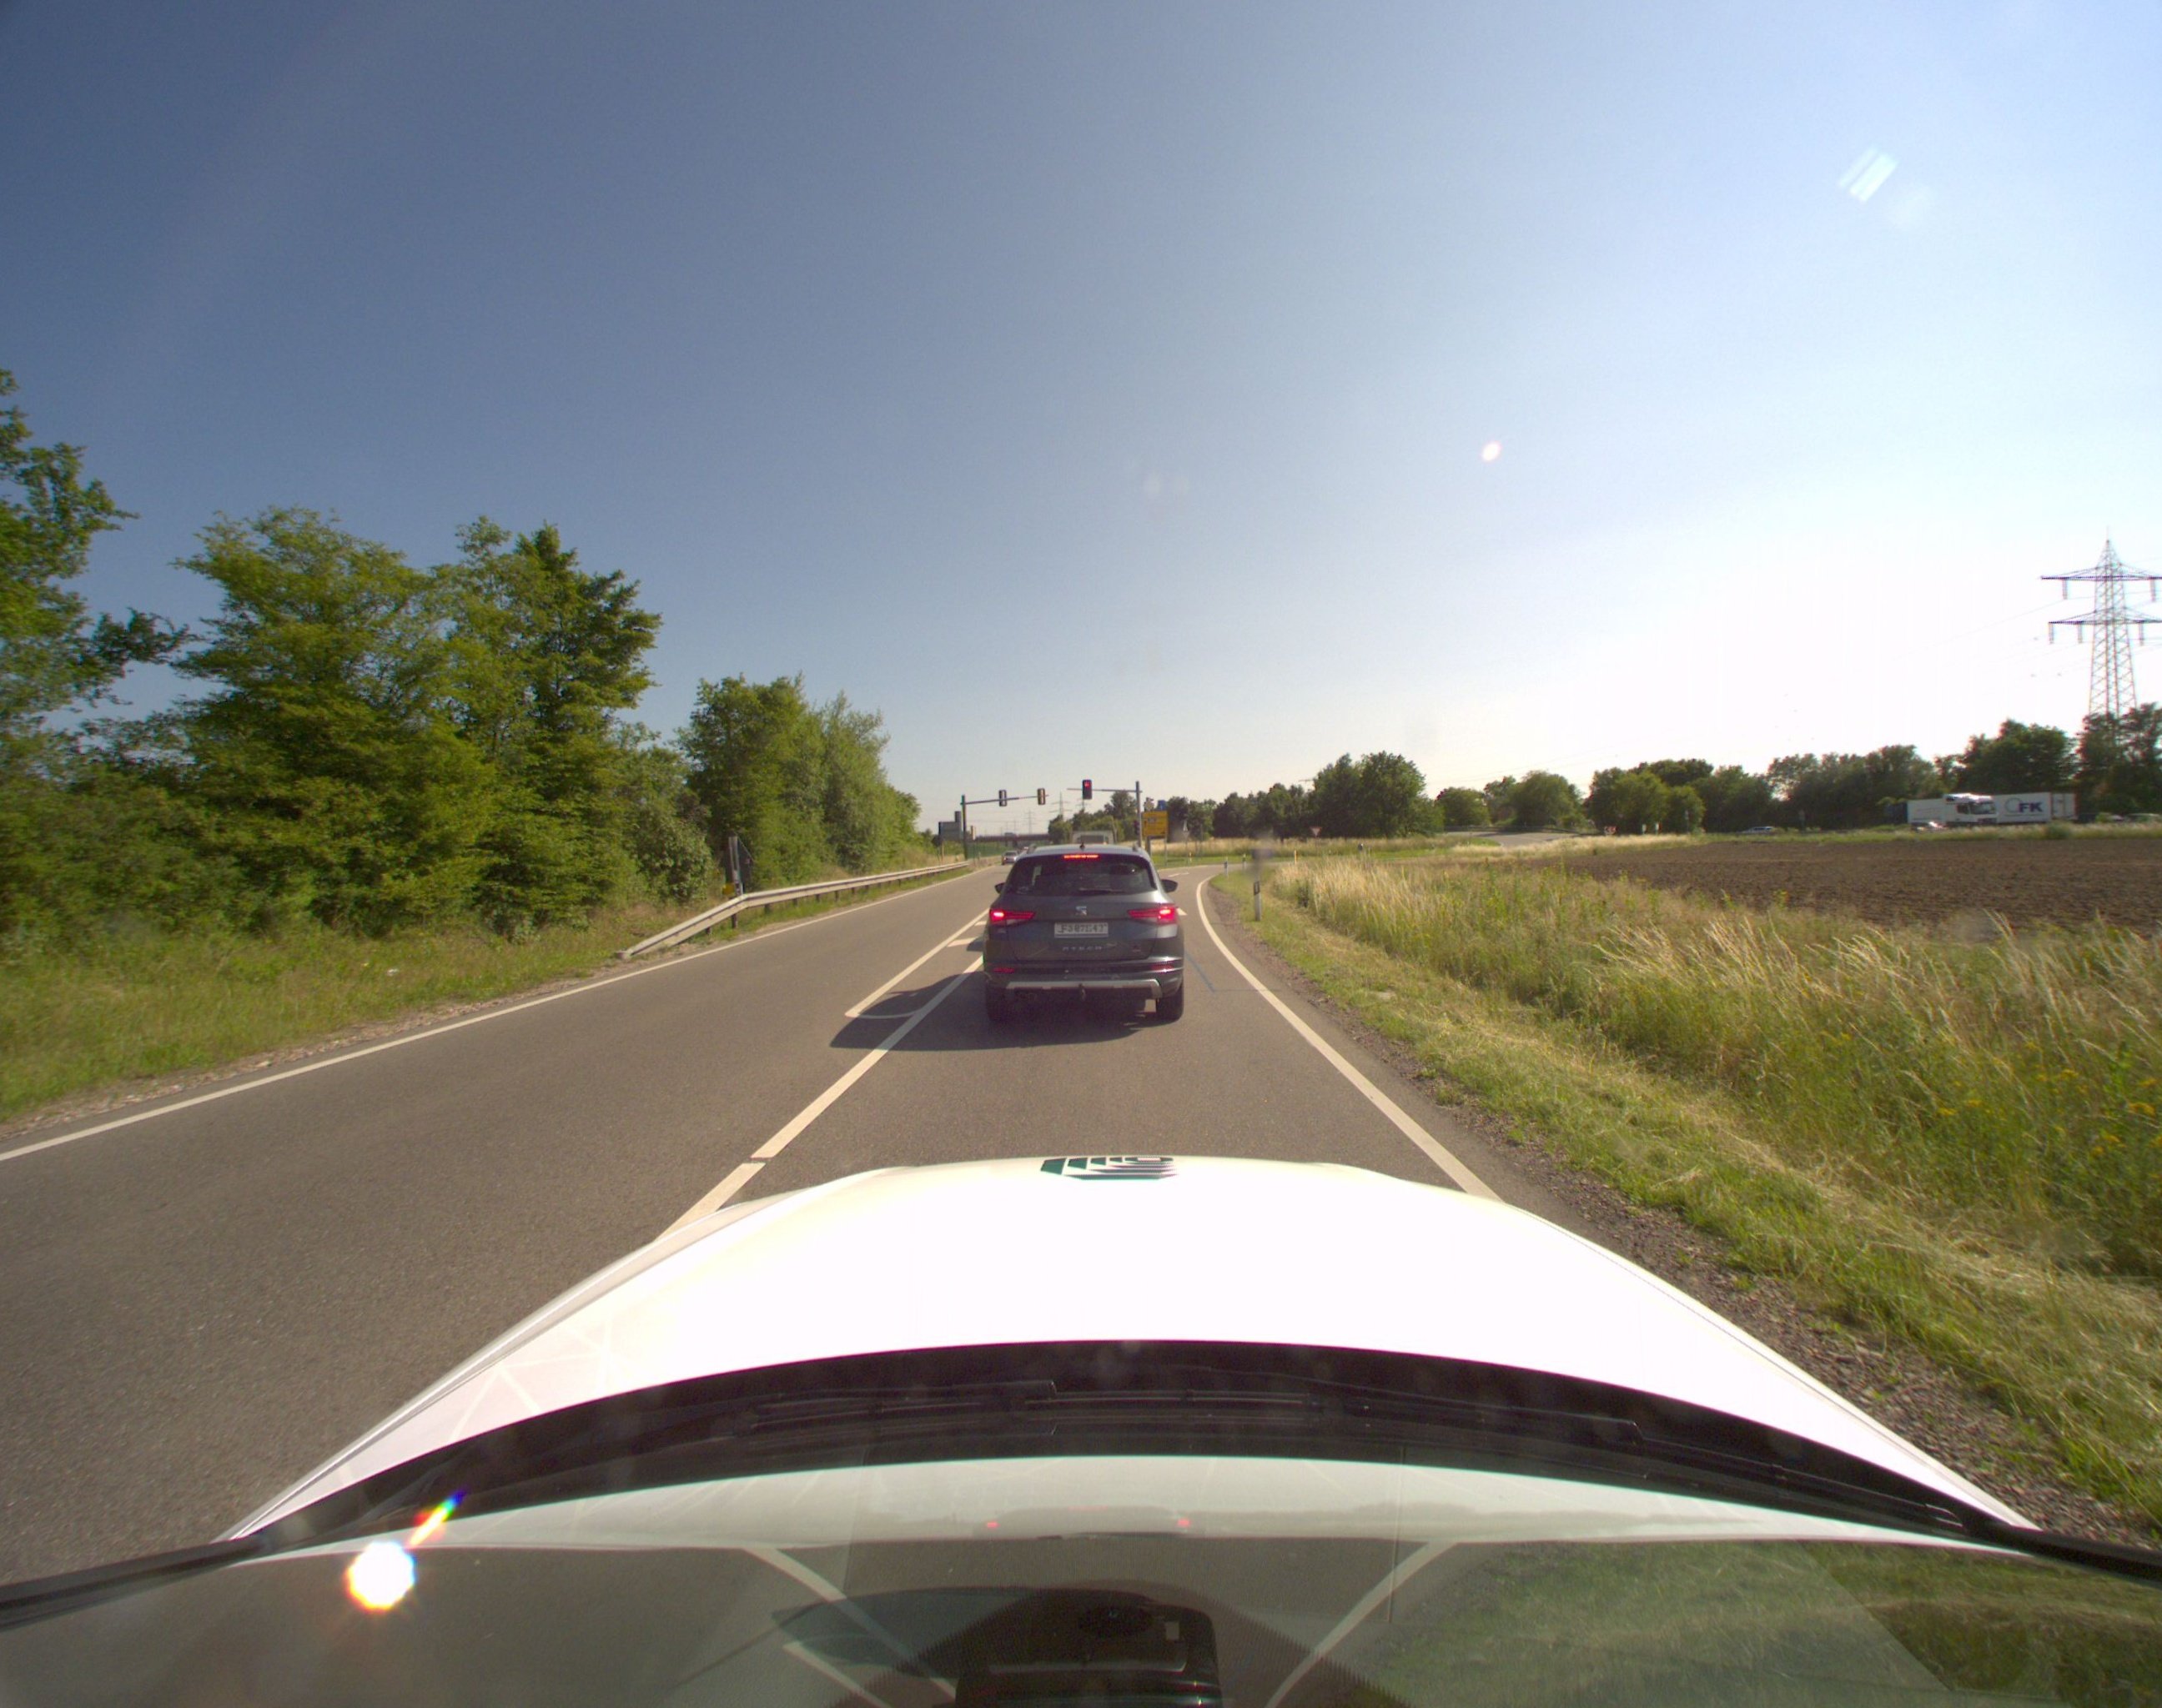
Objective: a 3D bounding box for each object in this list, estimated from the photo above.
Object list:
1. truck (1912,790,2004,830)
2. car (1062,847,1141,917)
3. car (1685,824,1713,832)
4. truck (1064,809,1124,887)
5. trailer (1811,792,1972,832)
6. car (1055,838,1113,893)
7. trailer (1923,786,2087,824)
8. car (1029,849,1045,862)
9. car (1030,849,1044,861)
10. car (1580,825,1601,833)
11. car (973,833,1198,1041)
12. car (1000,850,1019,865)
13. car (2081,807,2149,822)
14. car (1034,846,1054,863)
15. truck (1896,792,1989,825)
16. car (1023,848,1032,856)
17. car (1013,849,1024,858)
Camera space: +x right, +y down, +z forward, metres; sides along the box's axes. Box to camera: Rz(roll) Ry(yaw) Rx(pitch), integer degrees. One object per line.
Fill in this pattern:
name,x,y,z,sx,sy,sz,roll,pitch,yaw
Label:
truck,80.002,-3.946,74.411,2.507,3.267,5.352,-3,1,-3
car,0.454,0.635,20.787,1.780,1.543,3.999,-2,1,-1
car,90.498,-3.813,119.268,1.391,1.151,3.578,-1,1,-3
truck,0.536,-0.231,35.423,2.329,3.066,5.809,-1,0,1
trailer,79.716,-4.001,80.747,2.507,3.267,13.024,-3,1,-2
car,0.077,0.333,27.866,1.780,1.675,3.999,-2,1,-1
trailer,99.241,-5.150,88.015,3.275,3.267,12.449,-3,0,-1
car,-4.993,0.196,92.274,1.681,1.380,3.529,-1,1,-4
car,-5.346,0.137,98.295,1.681,1.380,3.529,-1,1,-4
car,95.659,-4.698,152.905,1.766,1.372,3.624,0,0,0
car,0.023,0.650,8.628,1.780,1.629,3.999,-2,1,-1
car,-7.543,0.341,86.197,1.821,1.431,3.994,-2,1,-4
car,91.756,-3.473,72.322,1.391,1.151,3.578,-1,1,-3
car,-3.606,0.071,79.490,1.813,1.540,3.994,-2,1,-4
truck,99.072,-5.169,93.834,3.275,3.267,6.975,-3,0,-2
car,-14.174,-0.618,215.583,1.961,1.952,4.987,-2,1,-6
car,-10.456,-0.031,135.387,1.758,1.431,3.994,-2,1,-4
